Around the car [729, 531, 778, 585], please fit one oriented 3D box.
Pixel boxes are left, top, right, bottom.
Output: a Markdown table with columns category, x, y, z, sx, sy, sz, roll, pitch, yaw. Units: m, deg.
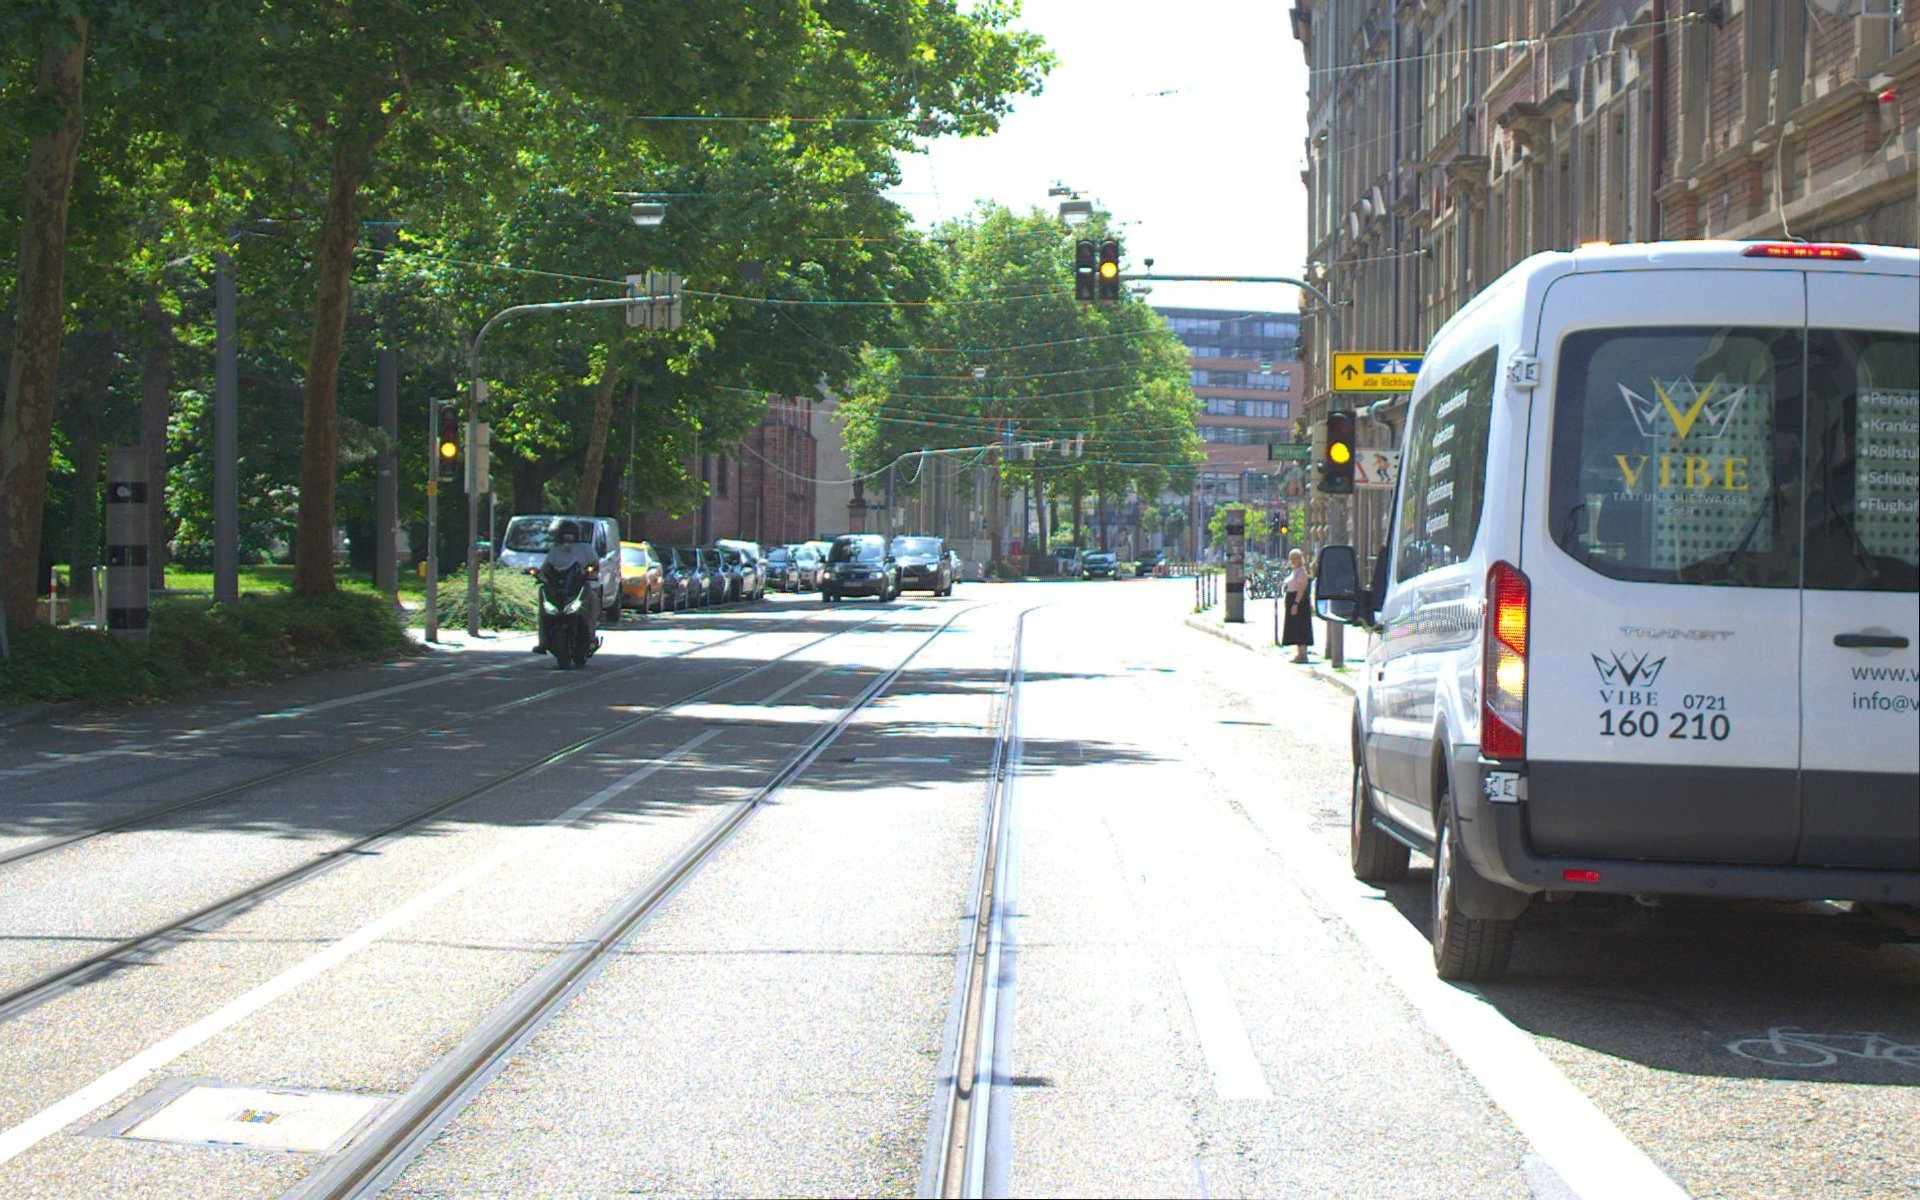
| category | x | y | z | sx | sy | sz | roll | pitch | yaw |
| --- | --- | --- | --- | --- | --- | --- | --- | --- | --- |
| car | -6.811 | -1.390 | 113.518 | 1.454 | 1.725 | 3.194 | 1 | 1 | -1 |

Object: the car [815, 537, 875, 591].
| category | x | y | z | sx | sy | sz | roll | pitch | yaw |
| --- | --- | --- | --- | --- | --- | --- | --- | --- | --- |
| car | -3.098 | -0.995 | 93.124 | 1.528 | 1.404 | 3.490 | 1 | 1 | -1 |

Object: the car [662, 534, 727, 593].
| category | x | y | z | sx | sy | sz | roll | pitch | yaw |
| --- | --- | --- | --- | --- | --- | --- | --- | --- | --- |
| car | -6.968 | -0.972 | 90.434 | 1.454 | 1.491 | 3.663 | 1 | 1 | -1 |

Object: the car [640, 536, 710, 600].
| category | x | y | z | sx | sy | sz | roll | pitch | yaw |
| --- | --- | --- | --- | --- | --- | --- | --- | --- | --- |
| car | -6.986 | -0.800 | 84.512 | 1.454 | 1.491 | 3.663 | 1 | 1 | -1 |

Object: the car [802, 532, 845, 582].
| category | x | y | z | sx | sy | sz | roll | pitch | yaw |
| --- | --- | --- | --- | --- | --- | --- | --- | --- | --- |
| car | -4.913 | -1.554 | 123.959 | 1.454 | 1.725 | 3.194 | 1 | 1 | -1 |

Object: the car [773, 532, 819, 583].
| category | x | y | z | sx | sy | sz | roll | pitch | yaw |
| --- | --- | --- | --- | --- | --- | --- | --- | --- | --- |
| car | -5.660 | -1.479 | 118.865 | 1.454 | 1.725 | 3.194 | 1 | 1 | -1 |

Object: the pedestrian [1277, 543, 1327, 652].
| category | x | y | z | sx | sy | sz | roll | pitch | yaw |
| --- | --- | --- | --- | --- | --- | --- | --- | --- | --- |
| pedestrian | 4.874 | -0.040 | 48.964 | 0.618 | 1.533 | 0.464 | 1 | 1 | -1 |

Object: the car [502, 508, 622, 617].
| category | x | y | z | sx | sy | sz | roll | pitch | yaw |
| --- | --- | --- | --- | --- | --- | --- | --- | --- | --- |
| car | -7.361 | -0.721 | 63.886 | 1.800 | 1.916 | 4.000 | 1 | 1 | -1 |

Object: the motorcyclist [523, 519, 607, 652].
| category | x | y | z | sx | sy | sz | roll | pitch | yaw |
| --- | --- | --- | --- | --- | --- | --- | --- | --- | --- |
| motorcyclist | -4.626 | -0.172 | 40.316 | 0.940 | 1.527 | 0.501 | 1 | 1 | -6 |

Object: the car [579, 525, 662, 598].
| category | x | y | z | sx | sy | sz | roll | pitch | yaw |
| --- | --- | --- | --- | --- | --- | --- | --- | --- | --- |
| car | -7.305 | -0.837 | 74.117 | 1.454 | 1.491 | 3.663 | 1 | 1 | -1 |

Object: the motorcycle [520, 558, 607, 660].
| category | x | y | z | sx | sy | sz | roll | pitch | yaw |
| --- | --- | --- | --- | --- | --- | --- | --- | --- | --- |
| motorcycle | -4.578 | 0.093 | 39.777 | 0.948 | 1.110 | 1.603 | 1 | 1 | -6 |

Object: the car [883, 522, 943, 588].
| category | x | y | z | sx | sy | sz | roll | pitch | yaw |
| --- | --- | --- | --- | --- | --- | --- | --- | --- | --- |
| car | -1.401 | -1.331 | 101.187 | 1.674 | 1.853 | 4.000 | 1 | 1 | -1 |

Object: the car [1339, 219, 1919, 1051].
| category | x | y | z | sx | sy | sz | roll | pitch | yaw |
| --- | --- | --- | --- | --- | --- | --- | --- | --- | --- |
| car | 2.716 | 0.067 | 13.174 | 2.067 | 2.492 | 5.454 | 2 | 1 | 2 |
